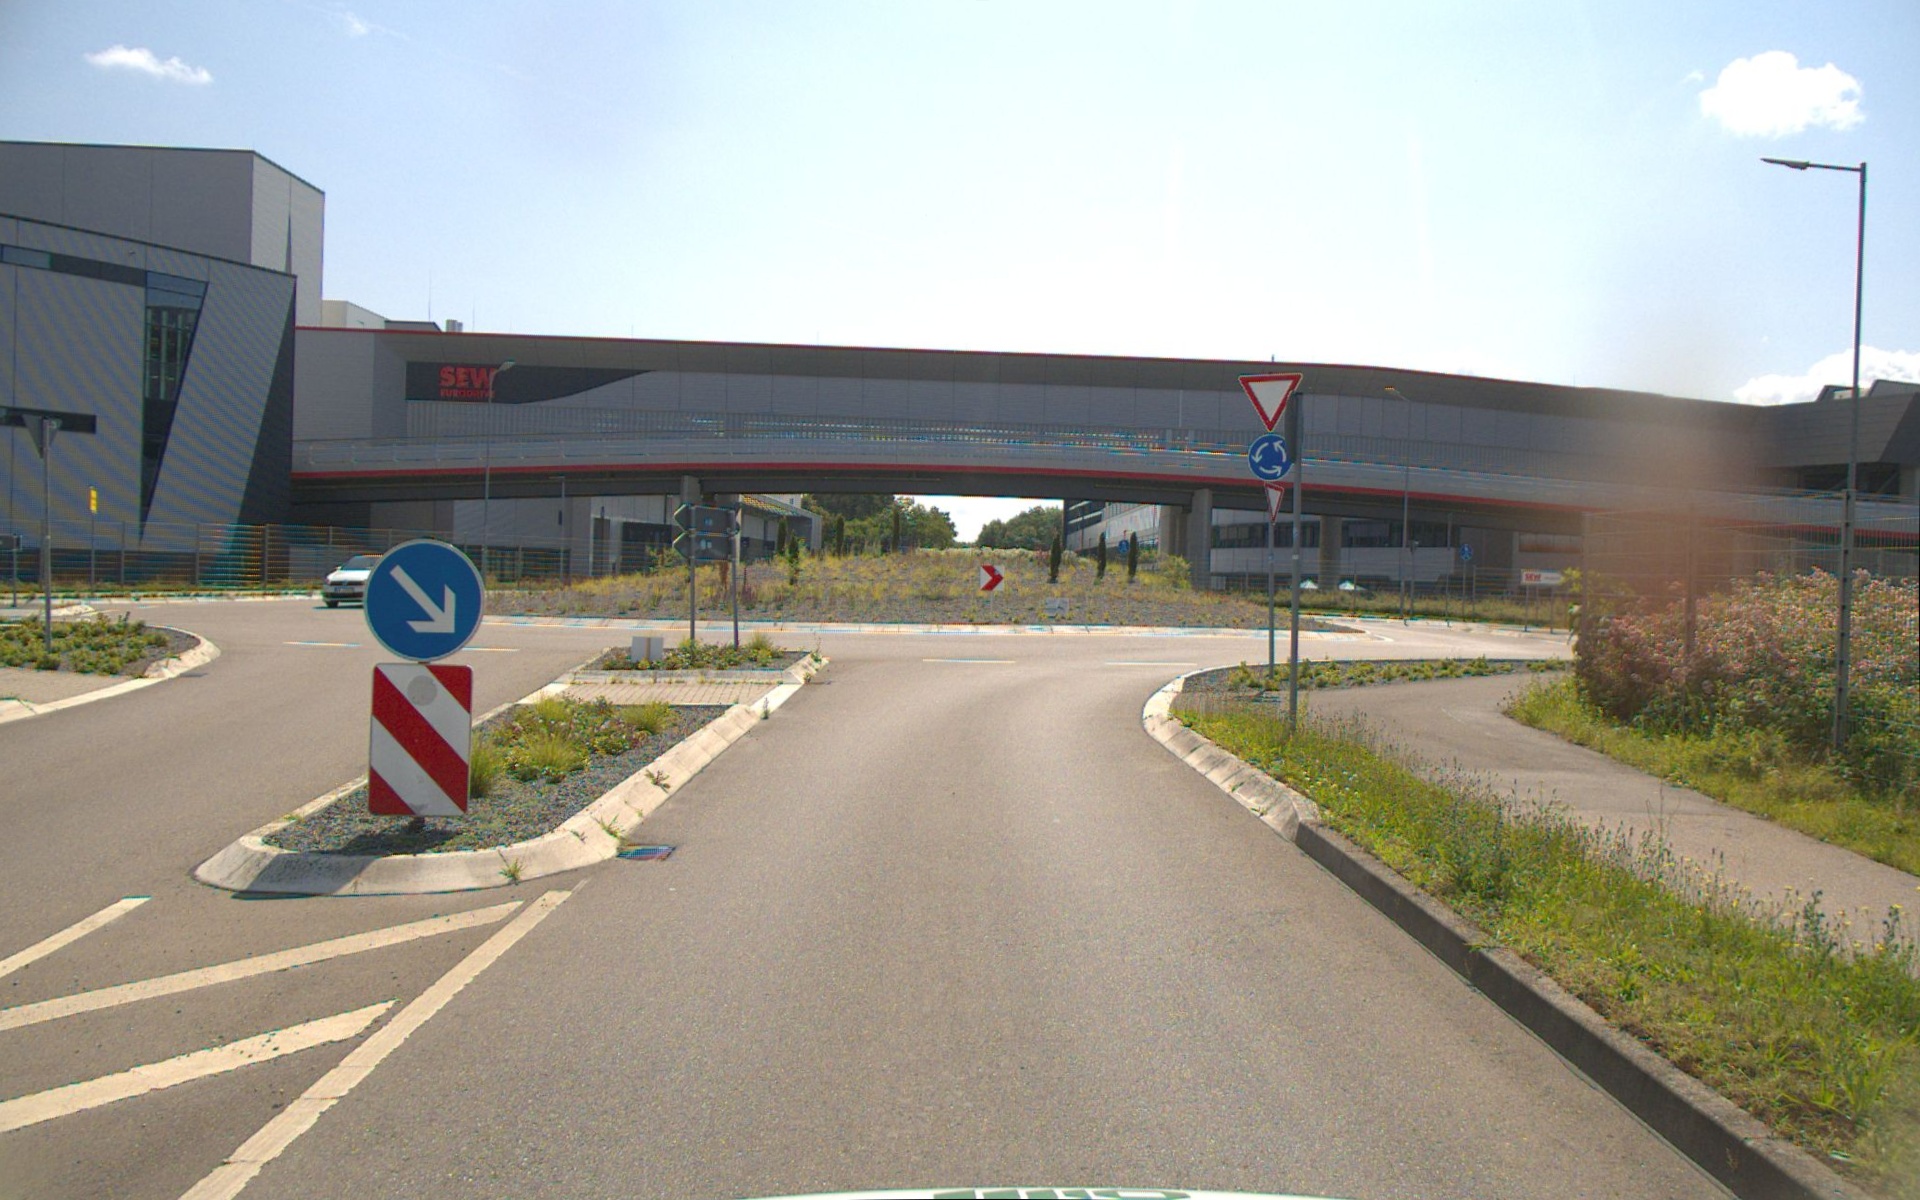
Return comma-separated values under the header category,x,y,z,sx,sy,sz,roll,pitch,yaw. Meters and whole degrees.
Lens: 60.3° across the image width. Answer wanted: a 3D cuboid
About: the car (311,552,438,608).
category,x,y,z,sx,sy,sz,roll,pitch,yaw
car,-16.009,-0.537,45.440,1.732,1.453,4.055,1,0,5
